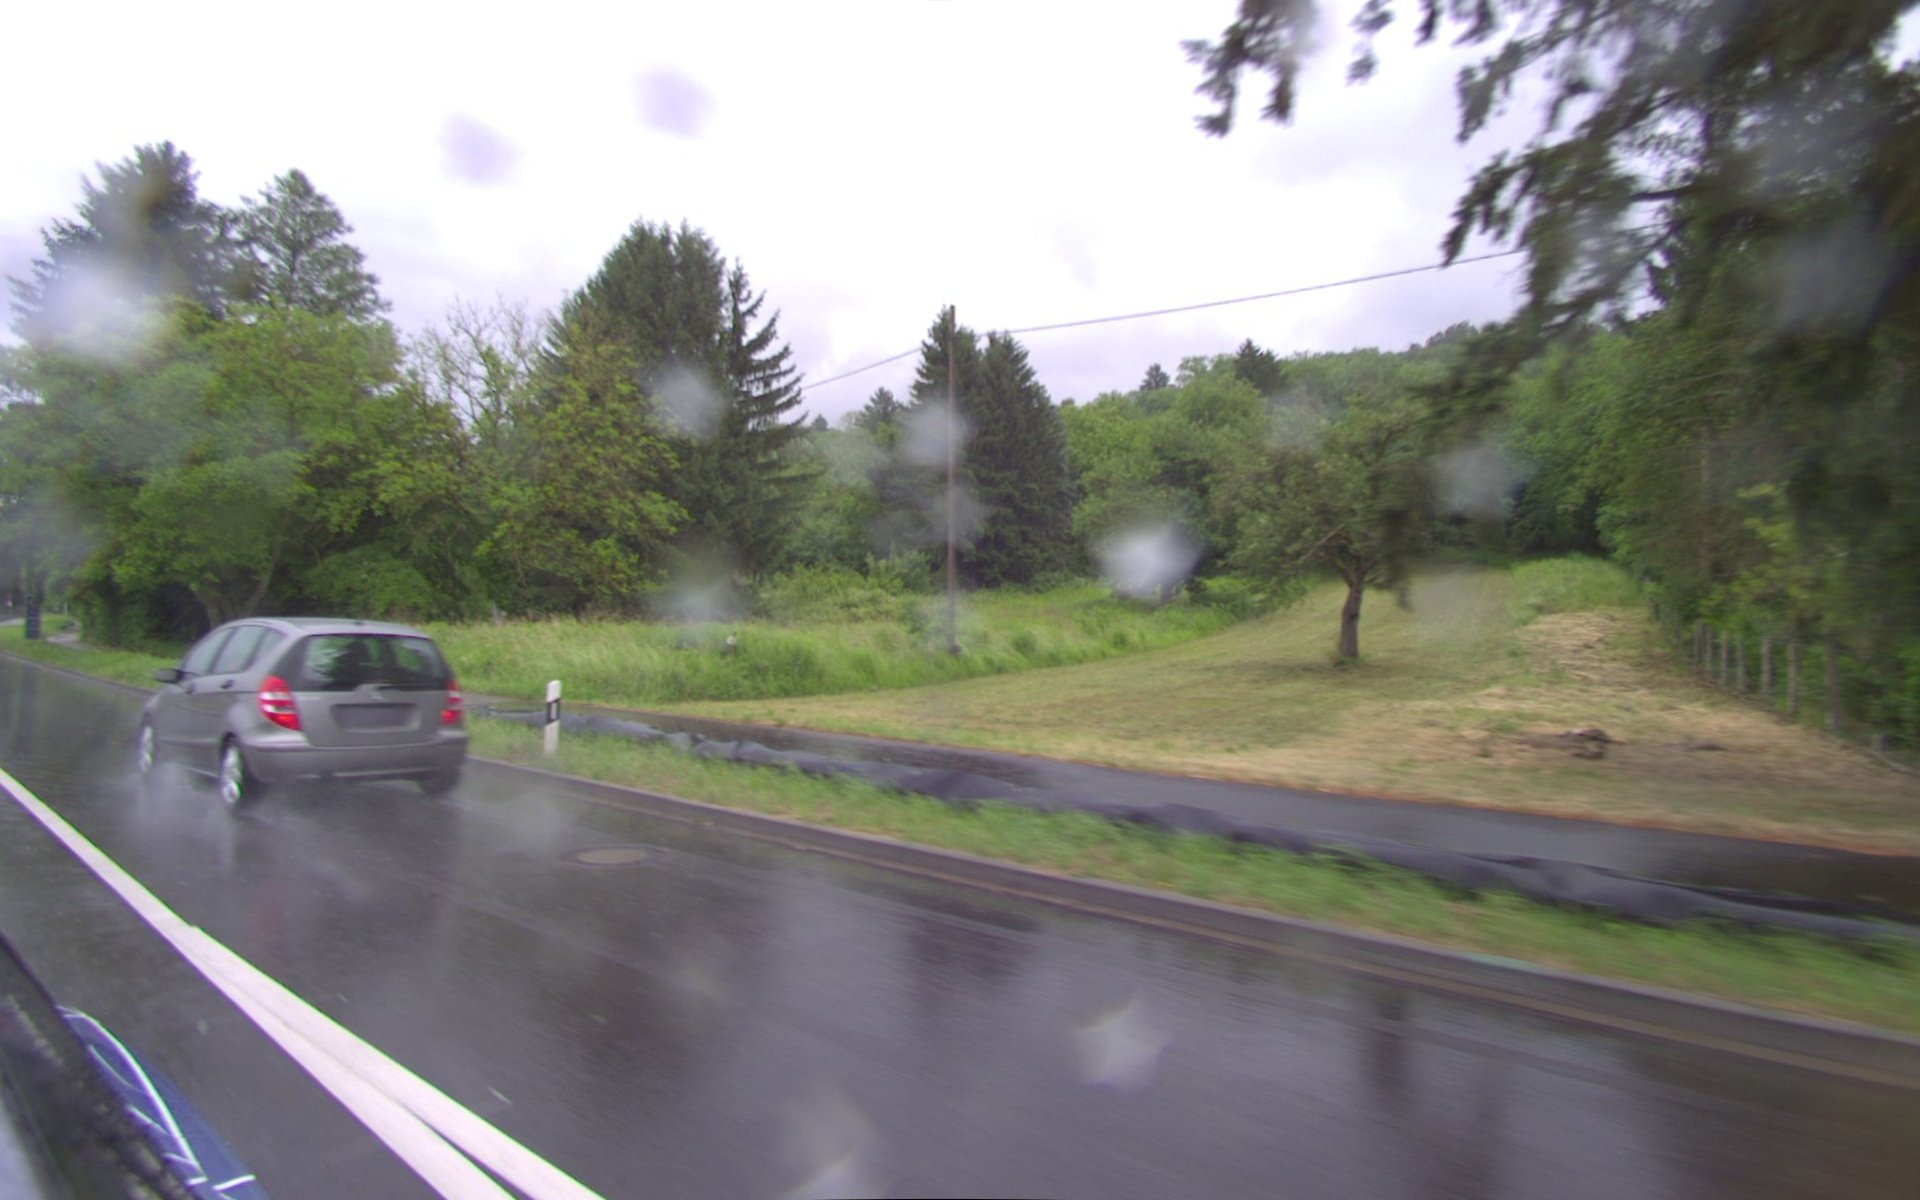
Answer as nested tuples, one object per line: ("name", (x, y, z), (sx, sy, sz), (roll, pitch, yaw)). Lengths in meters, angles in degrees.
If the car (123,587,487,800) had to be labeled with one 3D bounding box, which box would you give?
("car", (-6.190, 0.722, 9.392), (3.997, 1.564, 1.742), (-1, -2, 40))
